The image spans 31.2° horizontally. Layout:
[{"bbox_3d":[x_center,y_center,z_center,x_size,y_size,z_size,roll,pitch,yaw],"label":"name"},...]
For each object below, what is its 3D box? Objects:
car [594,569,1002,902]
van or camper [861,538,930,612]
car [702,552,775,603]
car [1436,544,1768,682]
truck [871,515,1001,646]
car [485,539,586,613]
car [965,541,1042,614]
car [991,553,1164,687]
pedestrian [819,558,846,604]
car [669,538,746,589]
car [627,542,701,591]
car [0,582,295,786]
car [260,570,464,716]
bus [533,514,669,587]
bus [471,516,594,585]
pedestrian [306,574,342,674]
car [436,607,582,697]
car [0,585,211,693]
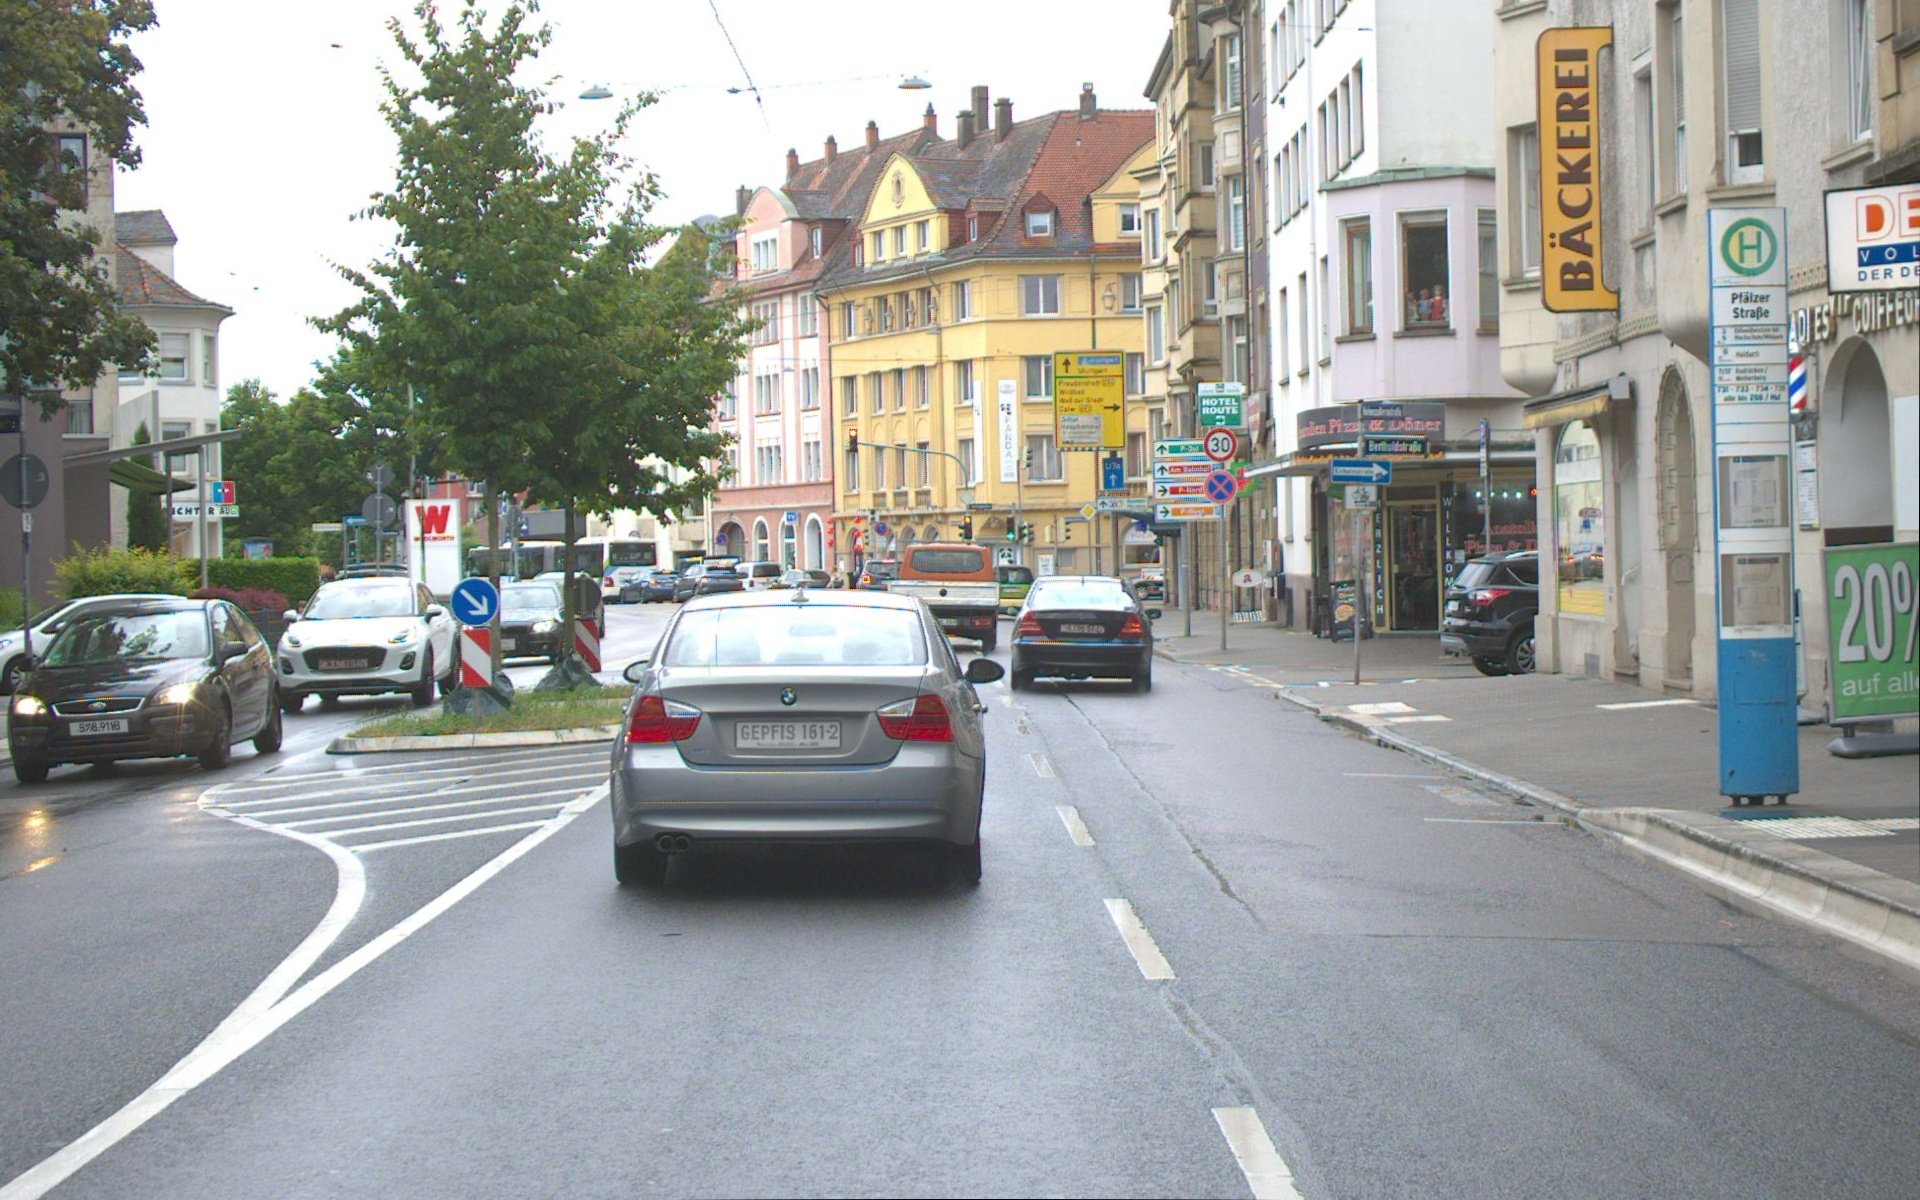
[{"bbox_3d":[-0.784,0.580,17.430,1.799,1.459,4.371,0,1,-2],"label":"car"},{"bbox_3d":[-1.968,-0.758,103.571,1.854,2.139,4.143,1,1,-4],"label":"van or camper"},{"bbox_3d":[-9.840,-1.008,152.561,1.761,2.173,4.001,2,0,-26],"label":"car"},{"bbox_3d":[8.394,0.154,45.233,4.139,1.766,1.873,0,1,5],"label":"car"},{"bbox_3d":[-0.461,-0.371,61.285,2.224,2.242,5.063,0,1,-1],"label":"truck"},{"bbox_3d":[-10.288,-0.595,83.130,1.947,1.653,4.058,2,1,-13],"label":"car"},{"bbox_3d":[1.189,-0.639,96.441,1.993,2.007,4.000,-1,1,-1],"label":"car"},{"bbox_3d":[1.391,0.232,42.249,1.799,1.558,4.000,0,0,-3],"label":"car"},{"bbox_3d":[-4.314,-0.641,116.457,0.760,1.524,0.508,1,-1,-21],"label":"pedestrian"},{"bbox_3d":[-10.211,-1.453,138.735,1.993,2.007,4.001,-1,1,-22],"label":"car"},{"bbox_3d":[-12.431,-1.394,144.395,1.993,2.007,4.001,-1,1,-22],"label":"car"},{"bbox_3d":[-7.119,0.669,29.946,1.955,1.551,4.244,-2,1,-2],"label":"car"},{"bbox_3d":[-7.259,0.479,42.067,1.819,1.563,4.089,-3,1,-2],"label":"car"},{"bbox_3d":[-15.939,-2.153,152.097,2.908,3.094,9.144,-2,1,-26],"label":"bus"},{"bbox_3d":[-19.981,-2.277,160.193,2.908,3.094,8.873,-2,1,-26],"label":"bus"},{"bbox_3d":[-11.266,0.425,60.912,0.574,1.756,0.581,-1,1,-7],"label":"pedestrian"},{"bbox_3d":[-7.989,0.894,61.269,2.013,1.421,4.500,1,1,-1],"label":"car"},{"bbox_3d":[-13.358,0.562,51.985,3.577,1.564,1.741,0,1,-33],"label":"car"}]
